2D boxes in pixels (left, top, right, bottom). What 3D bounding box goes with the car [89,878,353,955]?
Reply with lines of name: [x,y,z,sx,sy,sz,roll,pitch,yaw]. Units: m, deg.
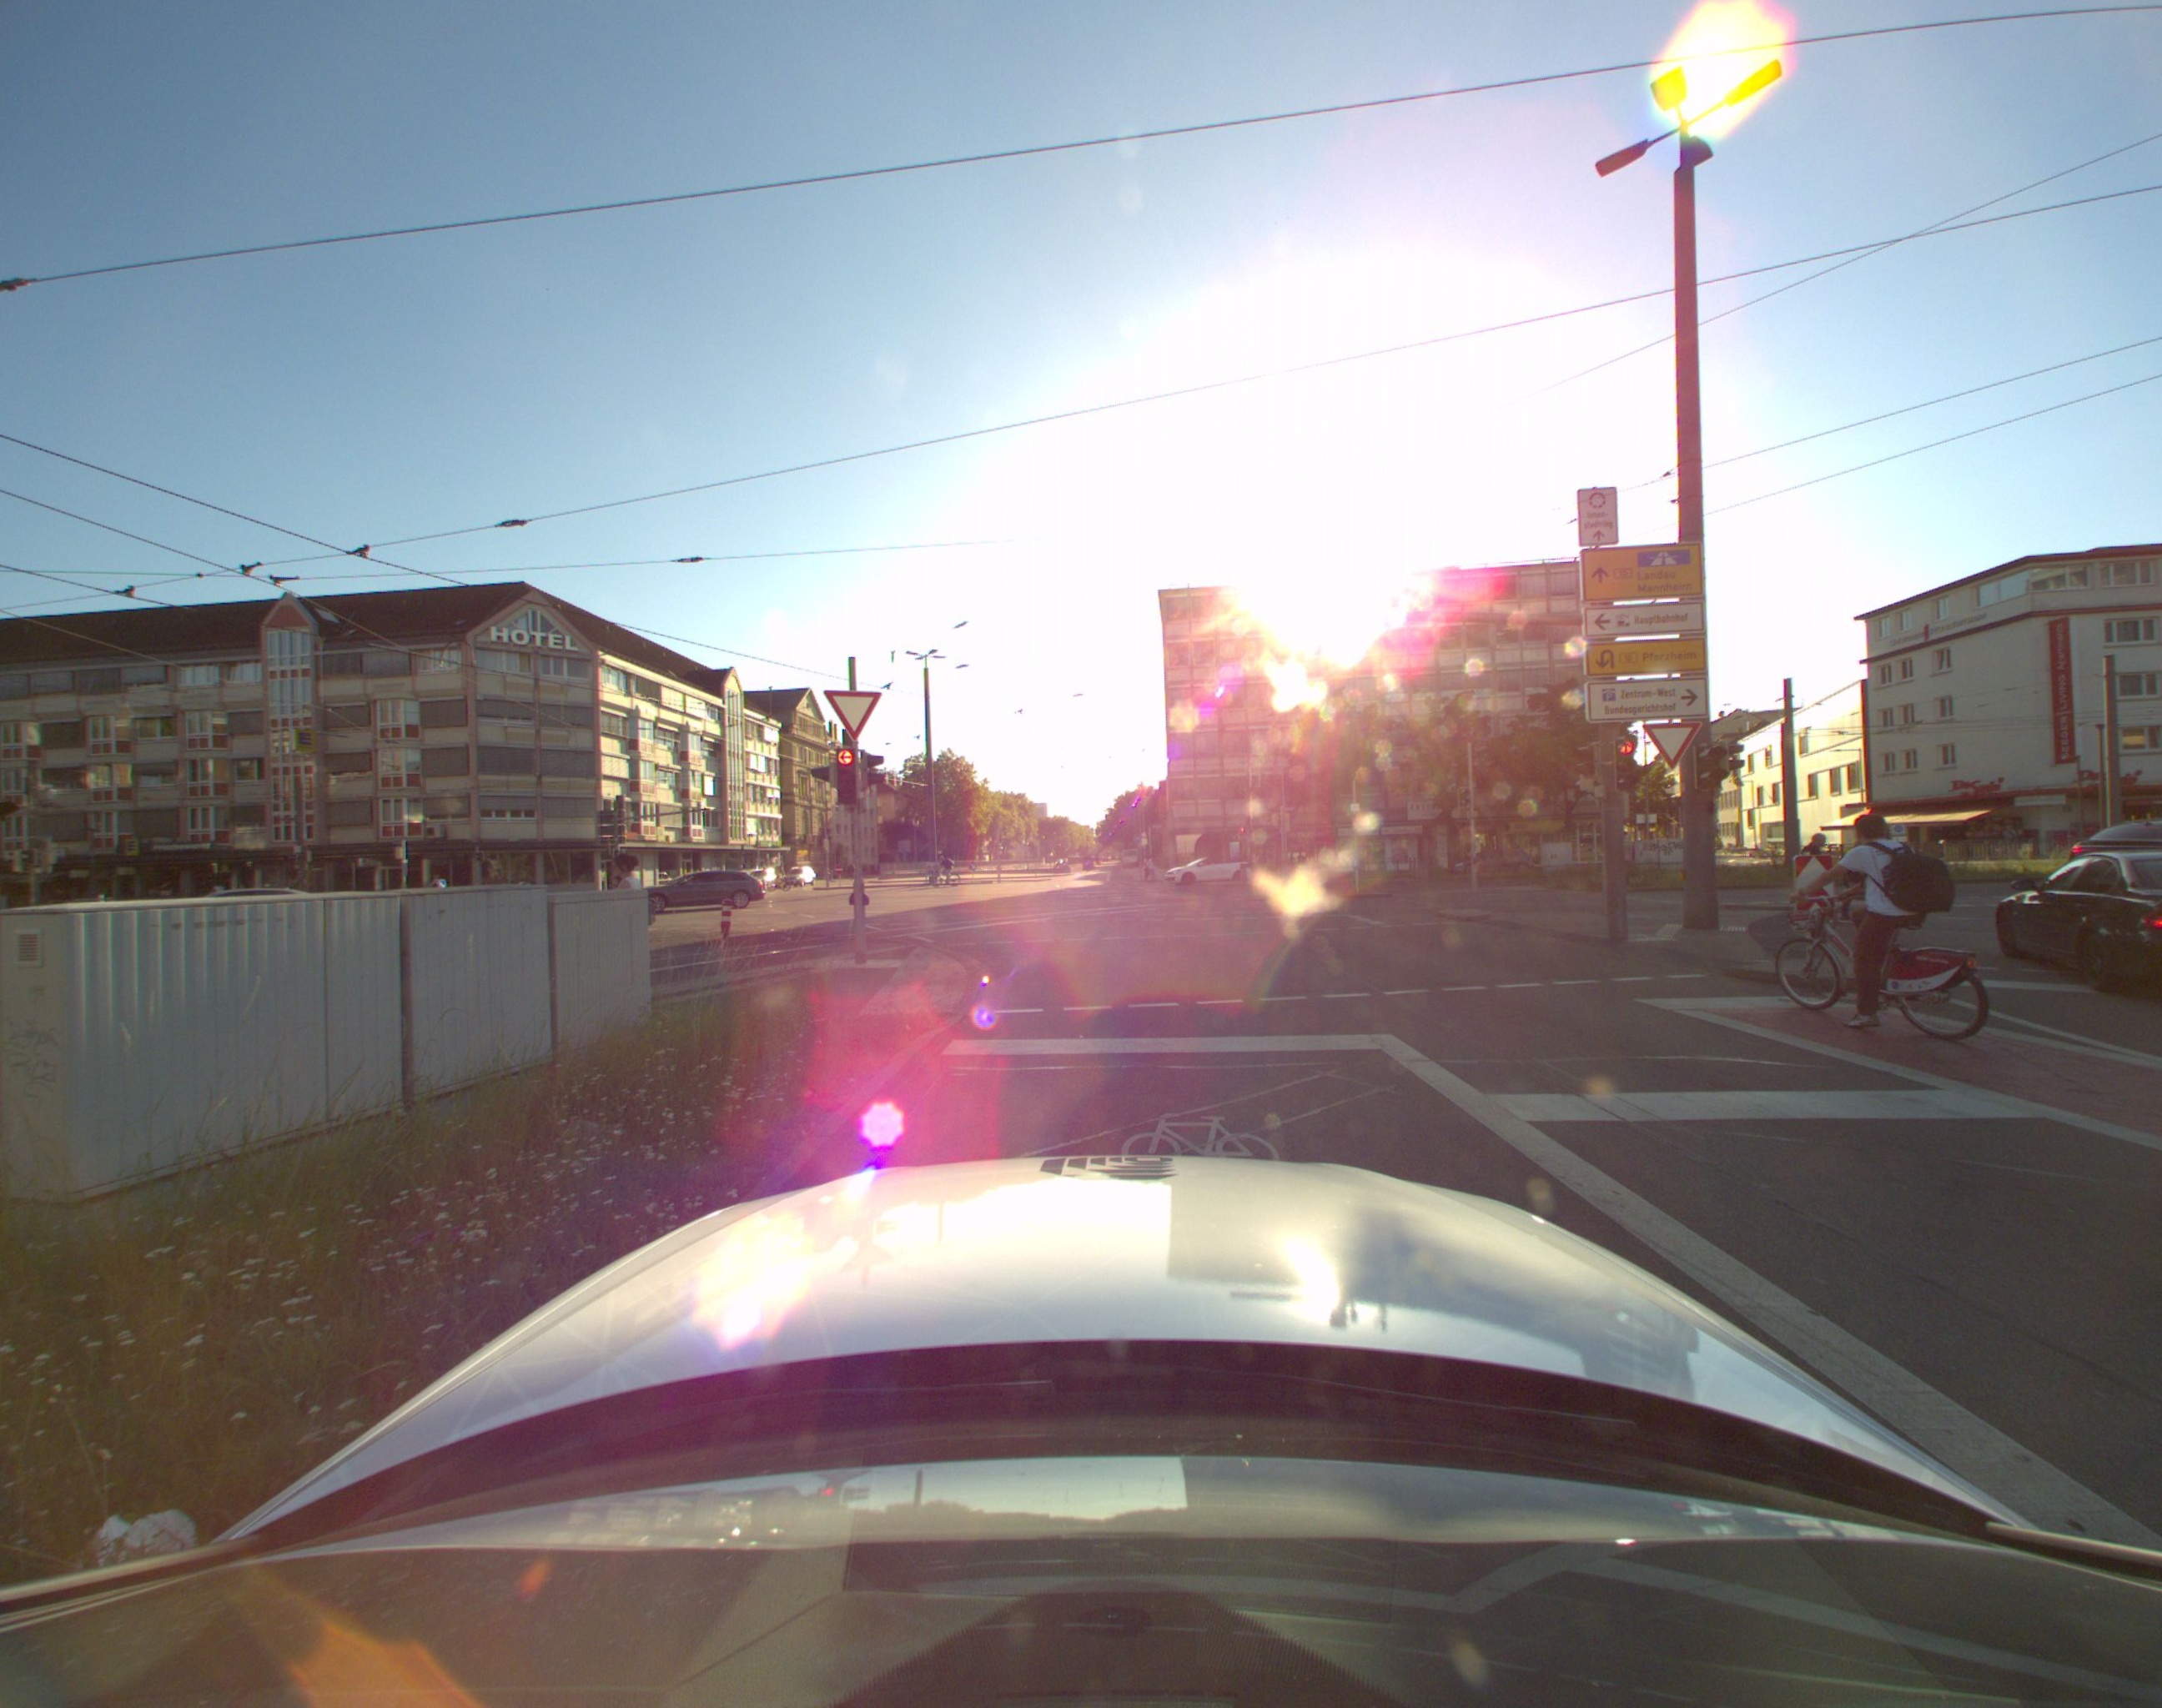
car: [-22.144,1.540,21.167,1.974,1.596,4.374,-3,0,32]

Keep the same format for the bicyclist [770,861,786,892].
bicyclist: [-20.574,1.530,55.333,0.772,2.014,0.606,-2,-1,8]

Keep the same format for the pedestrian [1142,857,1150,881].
pedestrian: [4.137,0.953,51.713,0.365,1.508,0.542,-2,-1,-5]

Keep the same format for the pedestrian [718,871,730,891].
pedestrian: [-29.839,2.229,68.112,0.623,1.605,0.705,-2,-1,3]

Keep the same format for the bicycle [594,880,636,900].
bicycle: [-29.140,2.246,50.896,2.168,1.137,0.658,-2,0,-3]

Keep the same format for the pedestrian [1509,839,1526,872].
pedestrian: [27.333,0.111,51.042,0.703,2.014,0.559,-2,-1,5]

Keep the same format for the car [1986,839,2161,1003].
car: [11.294,0.568,8.484,1.726,1.426,4.026,-2,0,37]

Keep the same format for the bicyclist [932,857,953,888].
bicyclist: [-7.968,1.036,46.971,1.037,1.739,0.677,-2,-1,-2]

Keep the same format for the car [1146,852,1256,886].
car: [5.837,0.718,39.894,4.922,1.479,1.992,-2,0,-11]

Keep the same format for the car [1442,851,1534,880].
car: [21.862,0.620,43.886,3.968,1.420,2.003,-2,0,5]

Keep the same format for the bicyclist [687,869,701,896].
bicyclist: [-27.640,2.031,58.187,0.590,1.862,0.642,-2,-1,3]

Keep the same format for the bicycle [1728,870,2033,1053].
bicycle: [6.571,0.796,6.890,0.642,1.223,2.050,0,1,3]

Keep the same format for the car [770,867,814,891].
car: [-24.763,2.087,69.941,1.984,1.860,4.005,-2,0,4]

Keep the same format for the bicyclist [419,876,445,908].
bicyclist: [-36.867,2.130,46.278,0.896,1.753,0.654,-2,-1,-2]

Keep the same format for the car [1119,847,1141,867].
car: [6.264,0.432,104.315,2.477,2.392,5.936,-4,-1,2]

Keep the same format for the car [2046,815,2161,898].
car: [23.901,0.015,17.747,3.987,1.693,1.993,-1,1,-10]

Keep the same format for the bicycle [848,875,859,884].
bicycle: [-25.364,2.851,90.929,0.596,0.915,1.838,-2,0,4]

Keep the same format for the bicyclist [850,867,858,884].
bicyclist: [-25.372,2.373,91.081,0.590,1.862,0.642,-2,-1,3]

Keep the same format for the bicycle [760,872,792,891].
bicycle: [-20.728,1.864,55.339,1.950,1.201,0.611,-2,-1,7]

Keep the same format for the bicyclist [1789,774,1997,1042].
bicyclist: [6.564,0.394,6.655,0.641,2.013,1.068,0,1,3]

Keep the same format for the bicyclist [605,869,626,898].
bicyclist: [-29.067,1.810,50.859,0.896,1.753,0.650,-2,-1,-2]

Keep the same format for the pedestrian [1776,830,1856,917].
pedestrian: [14.006,0.359,15.531,0.875,1.597,0.655,-2,-1,0]

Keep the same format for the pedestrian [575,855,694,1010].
pedestrian: [-4.860,0.826,8.905,0.875,1.597,0.655,-2,-1,1]

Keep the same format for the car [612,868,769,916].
car: [-14.548,1.359,30.478,4.960,1.479,1.977,-2,0,-38]

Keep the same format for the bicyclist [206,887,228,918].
bicyclist: [-50.287,2.809,47.409,0.663,1.712,0.537,-2,-1,-8]

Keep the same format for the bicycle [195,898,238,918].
bicycle: [-50.287,3.143,47.403,1.731,1.059,0.538,-2,-1,-8]

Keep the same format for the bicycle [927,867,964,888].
bicycle: [-7.805,1.342,46.992,1.967,1.098,0.677,-2,-1,-2]

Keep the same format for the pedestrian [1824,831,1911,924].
pedestrian: [14.125,0.415,14.646,0.875,1.597,0.655,-2,-1,0]

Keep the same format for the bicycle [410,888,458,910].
bicycle: [-36.768,2.569,46.279,2.089,1.137,0.658,-2,0,-3]

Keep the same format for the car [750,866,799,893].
car: [-23.782,1.961,63.315,1.984,1.860,4.005,-2,0,4]

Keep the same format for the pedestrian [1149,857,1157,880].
pedestrian: [4.634,0.931,52.450,0.365,1.508,0.542,-2,-1,-5]
